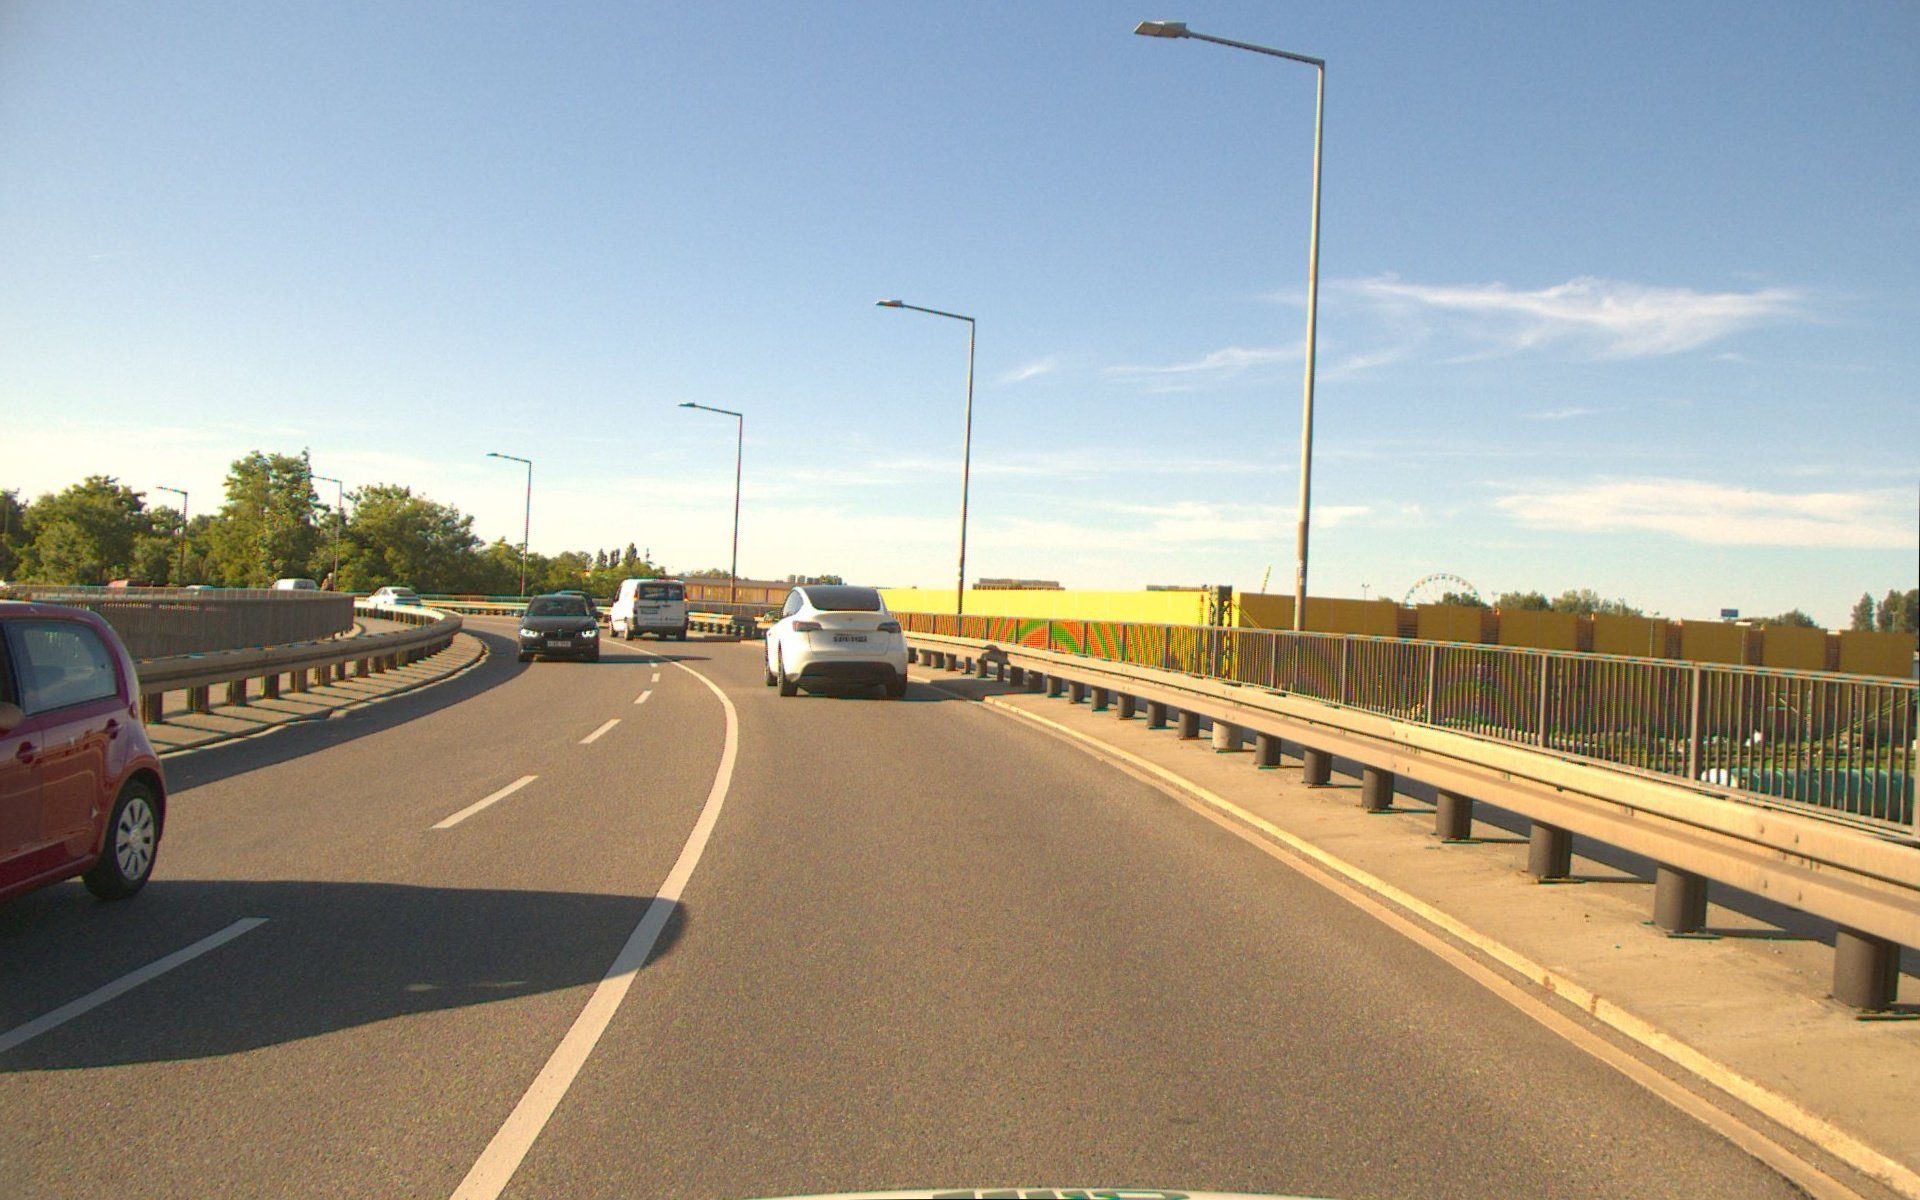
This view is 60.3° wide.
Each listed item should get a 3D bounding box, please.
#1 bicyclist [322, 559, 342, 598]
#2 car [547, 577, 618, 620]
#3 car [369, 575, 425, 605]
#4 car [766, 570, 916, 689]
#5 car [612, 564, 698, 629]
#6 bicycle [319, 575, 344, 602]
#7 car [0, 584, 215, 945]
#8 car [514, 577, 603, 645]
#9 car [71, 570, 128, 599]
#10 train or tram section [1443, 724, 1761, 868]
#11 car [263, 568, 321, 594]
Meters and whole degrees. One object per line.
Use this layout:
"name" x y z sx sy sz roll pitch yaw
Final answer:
"bicyclist" -26.527 -0.900 69.826 0.647 1.617 0.760 0 0 -31
"car" -15.350 -0.079 67.104 1.945 1.666 3.965 -1 1 -27
"car" -31.211 -0.590 91.660 1.845 1.612 3.864 0 1 -36
"car" -1.913 0.393 25.477 1.949 1.666 4.054 -1 0 -9
"car" -9.789 -0.126 52.777 1.976 1.974 4.441 0 1 -20
"bicycle" -26.546 -0.490 69.854 0.647 1.083 1.870 0 1 -31
"car" -4.786 0.668 6.881 1.746 1.462 3.873 0 1 -3
"car" -9.155 0.215 37.619 1.842 1.464 4.305 0 1 -15
"car" -61.350 -1.119 117.919 3.917 1.984 1.957 1 1 34
"train or tram section" 29.506 8.705 75.423 16.624 5.353 3.308 0 0 -27
"car" -42.191 -1.202 104.456 3.821 1.583 1.832 1 1 40
